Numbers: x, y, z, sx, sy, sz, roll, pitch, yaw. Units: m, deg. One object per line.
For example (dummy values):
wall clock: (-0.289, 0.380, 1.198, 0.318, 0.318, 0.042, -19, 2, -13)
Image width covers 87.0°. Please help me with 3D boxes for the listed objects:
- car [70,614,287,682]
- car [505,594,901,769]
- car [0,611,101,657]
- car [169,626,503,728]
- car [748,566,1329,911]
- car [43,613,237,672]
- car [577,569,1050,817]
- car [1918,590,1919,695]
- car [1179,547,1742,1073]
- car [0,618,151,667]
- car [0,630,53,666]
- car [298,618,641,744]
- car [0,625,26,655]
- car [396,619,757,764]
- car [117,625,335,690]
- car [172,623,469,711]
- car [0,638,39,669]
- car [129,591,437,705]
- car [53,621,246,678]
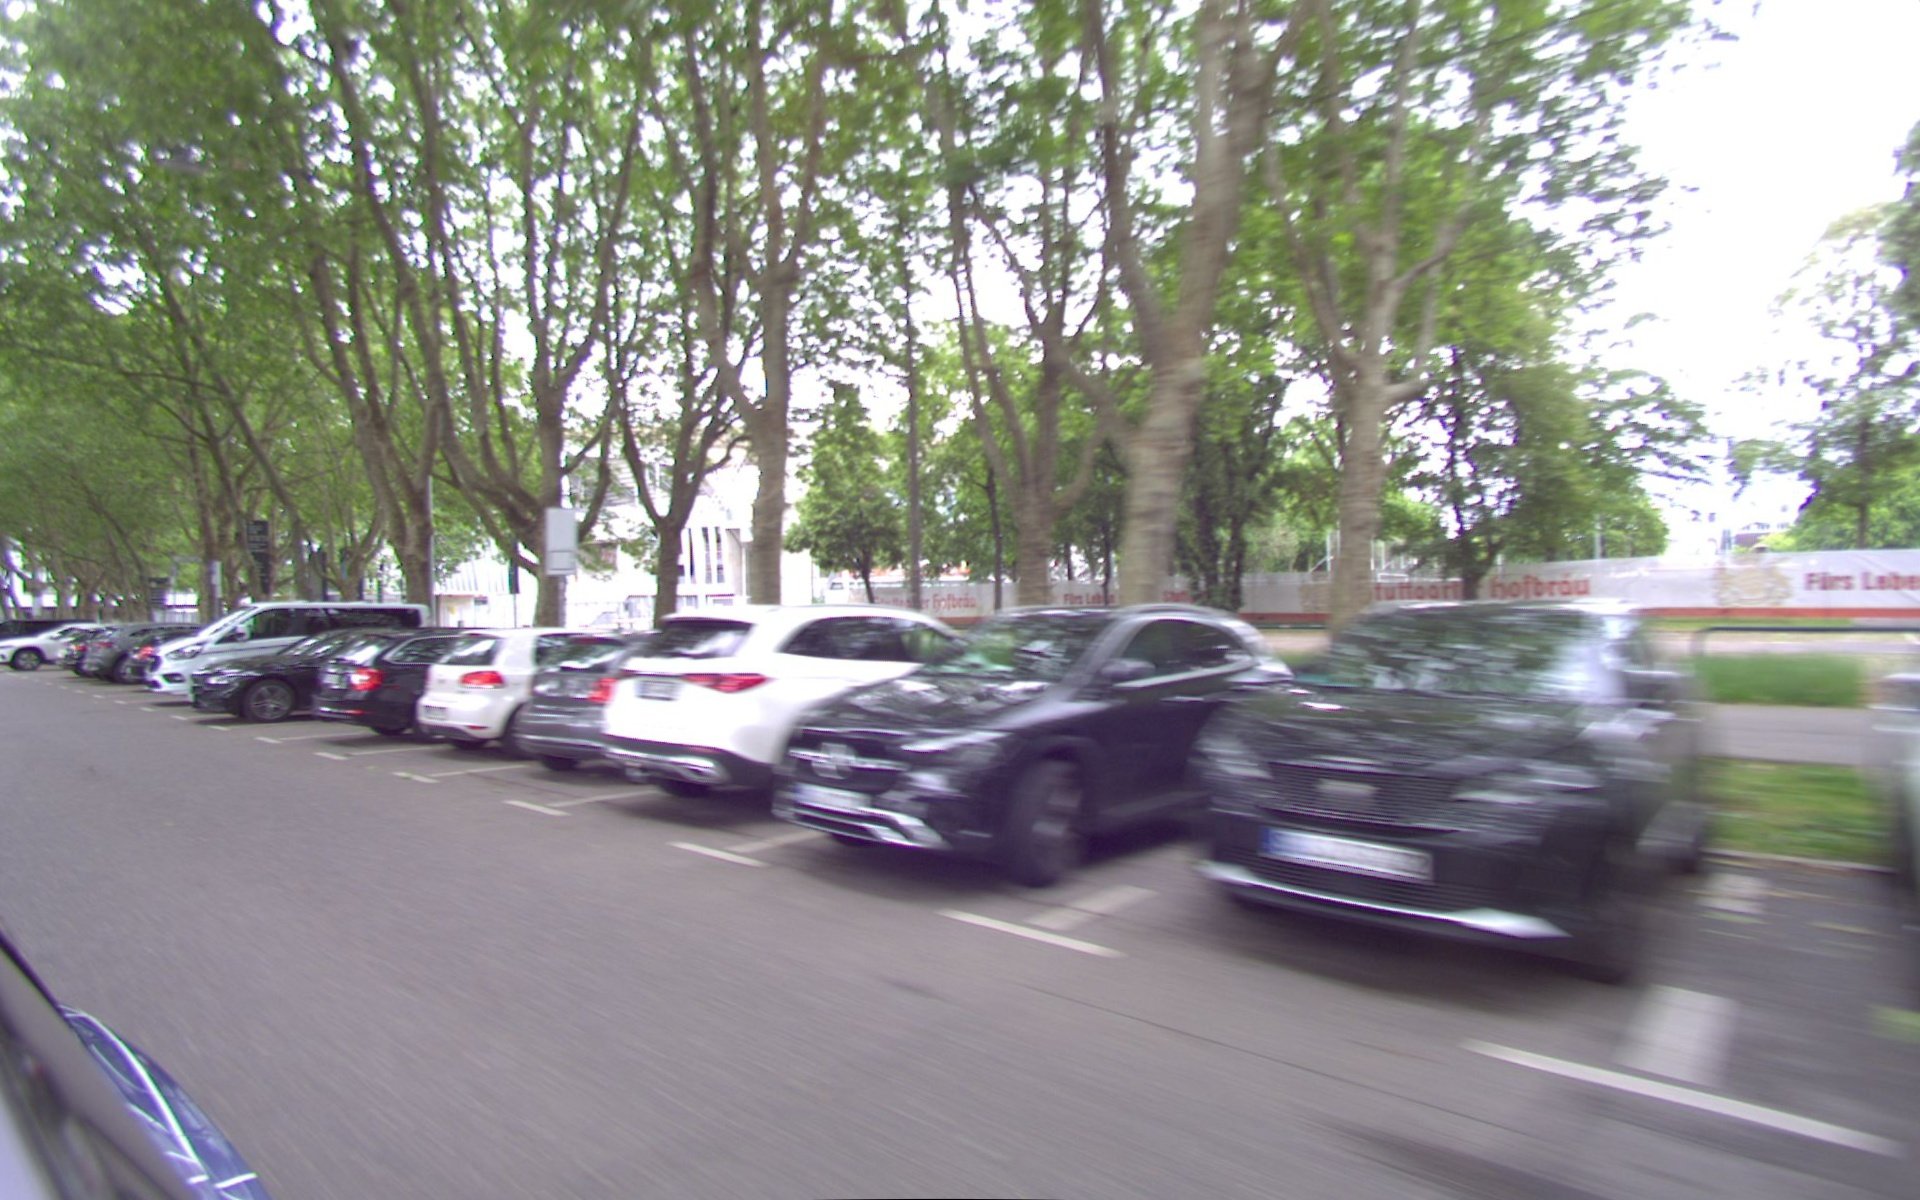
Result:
car: (-21.065, 1.297, 27.438, 1.998, 1.680, 4.297, -2, -3, 39)
car: (-2.499, 0.750, 10.594, 1.692, 1.482, 3.790, -2, -2, 38)
car: (-44.528, 1.637, 48.120, 1.938, 2.144, 5.381, -3, -3, 40)
car: (-10.172, 1.168, 16.752, 1.775, 1.463, 4.397, -2, -3, 45)
car: (0.767, 0.710, 6.861, 1.799, 1.620, 4.022, -2, -2, 43)
car: (-25.094, 1.307, 31.086, 1.998, 1.680, 4.297, -2, -3, 39)
car: (-1.069, 0.673, 8.805, 1.950, 1.640, 3.790, -2, -2, 38)
car: (5.033, 0.701, 3.803, 1.692, 1.620, 4.004, -1, -2, 38)
car: (2.820, 0.704, 5.204, 1.832, 1.620, 3.790, -2, -2, 38)
car: (-31.305, 1.468, 35.441, 1.998, 1.609, 4.336, -2, -3, 39)
car: (-49.725, 2.465, 51.962, 4.599, 1.834, 1.807, 3, -5, -44)
car: (-6.572, 1.019, 13.897, 1.536, 1.482, 3.953, -2, -3, 41)
car: (-63.289, 2.578, 64.825, 2.207, 1.939, 4.853, -2, -2, 42)
car: (-4.561, 1.016, 12.443, 1.863, 1.485, 3.717, -2, -3, 40)
car: (-17.517, 1.351, 24.299, 1.682, 1.424, 3.944, -2, -3, 42)
car: (-11.906, 1.181, 19.101, 1.773, 1.463, 4.402, -2, -2, 40)
car: (-57.523, 3.159, 59.741, 1.798, 1.795, 4.529, -3, -4, 43)
car: (-13.547, 0.926, 20.558, 1.917, 2.035, 4.846, -1, -2, 38)
car: (-22.938, 1.390, 28.761, 1.841, 1.487, 3.947, -2, -3, 39)
